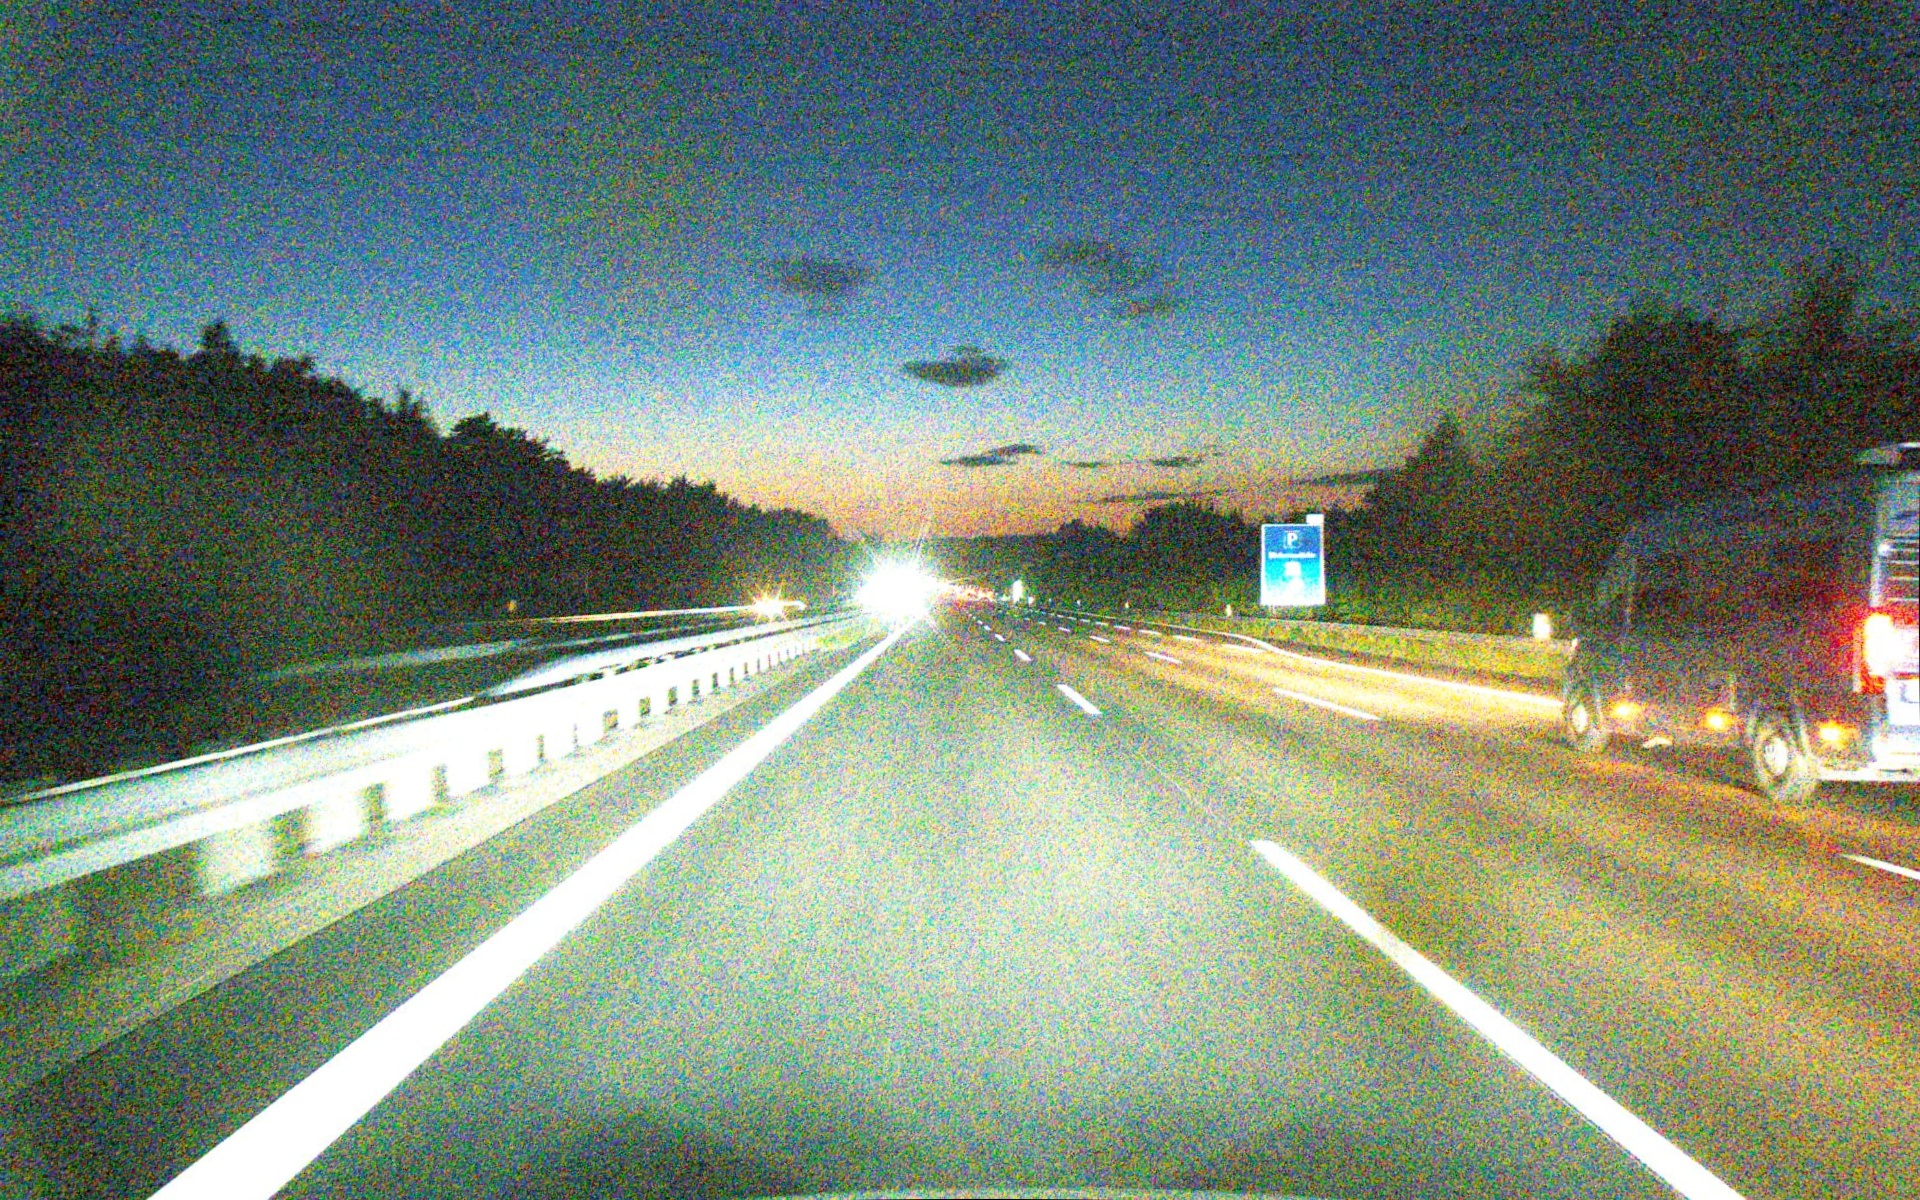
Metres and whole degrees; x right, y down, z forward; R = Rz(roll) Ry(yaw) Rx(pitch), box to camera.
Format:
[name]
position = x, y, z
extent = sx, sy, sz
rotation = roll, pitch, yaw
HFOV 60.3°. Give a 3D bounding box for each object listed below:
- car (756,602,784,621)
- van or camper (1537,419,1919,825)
[car]
position = -17.744, 1.043, 154.709
extent = 1.953, 1.578, 5.003
rotation = -4, 0, -1
[van or camper]
position = 7.498, 0.149, 14.915
extent = 2.162, 2.820, 6.804
rotation = 1, 0, 0
